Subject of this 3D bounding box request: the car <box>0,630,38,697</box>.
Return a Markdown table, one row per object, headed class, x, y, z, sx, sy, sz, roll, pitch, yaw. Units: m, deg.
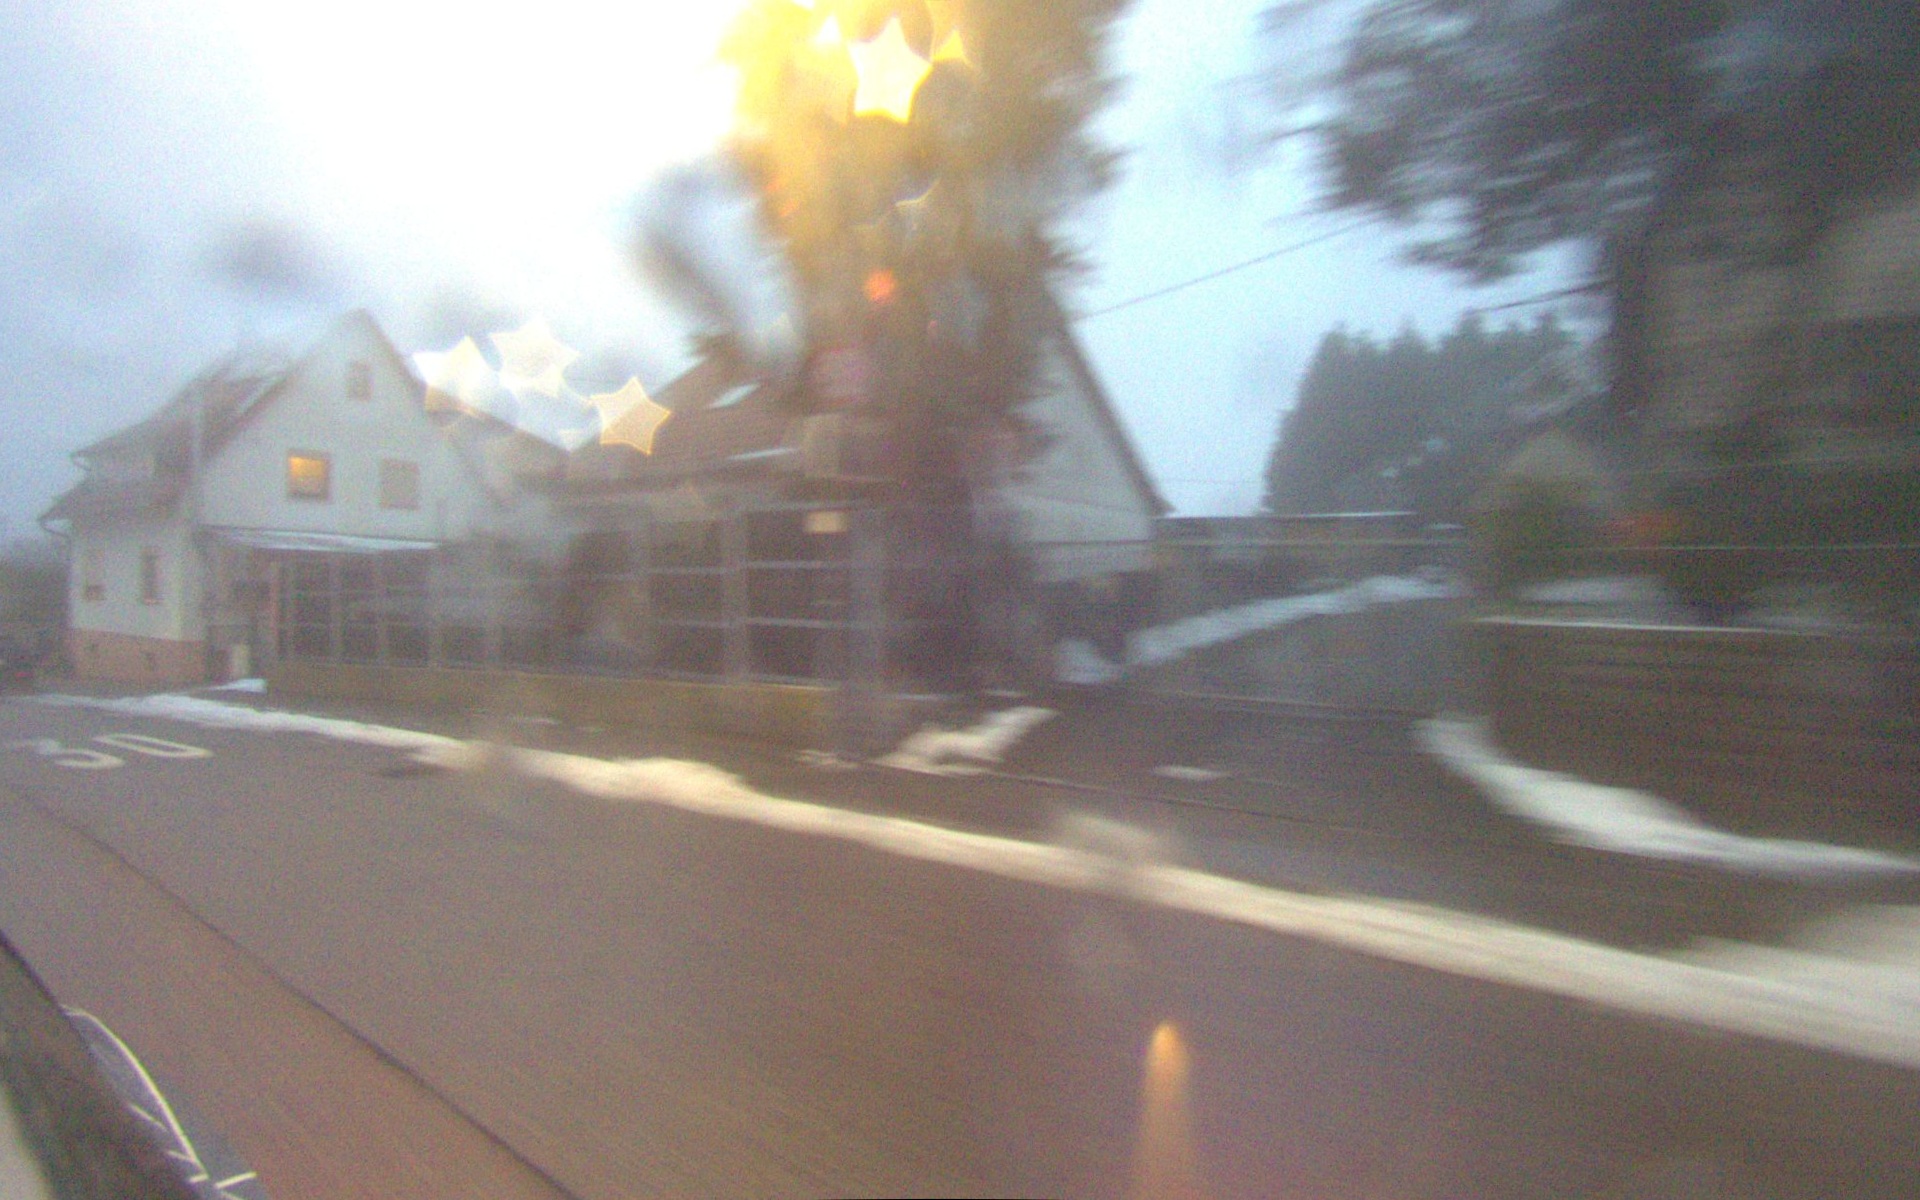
| class | x | y | z | sx | sy | sz | roll | pitch | yaw |
| --- | --- | --- | --- | --- | --- | --- | --- | --- | --- |
| car | -23.302 | 1.512 | 23.360 | 5.380 | 1.437 | 1.860 | -3 | 0 | 36 |
